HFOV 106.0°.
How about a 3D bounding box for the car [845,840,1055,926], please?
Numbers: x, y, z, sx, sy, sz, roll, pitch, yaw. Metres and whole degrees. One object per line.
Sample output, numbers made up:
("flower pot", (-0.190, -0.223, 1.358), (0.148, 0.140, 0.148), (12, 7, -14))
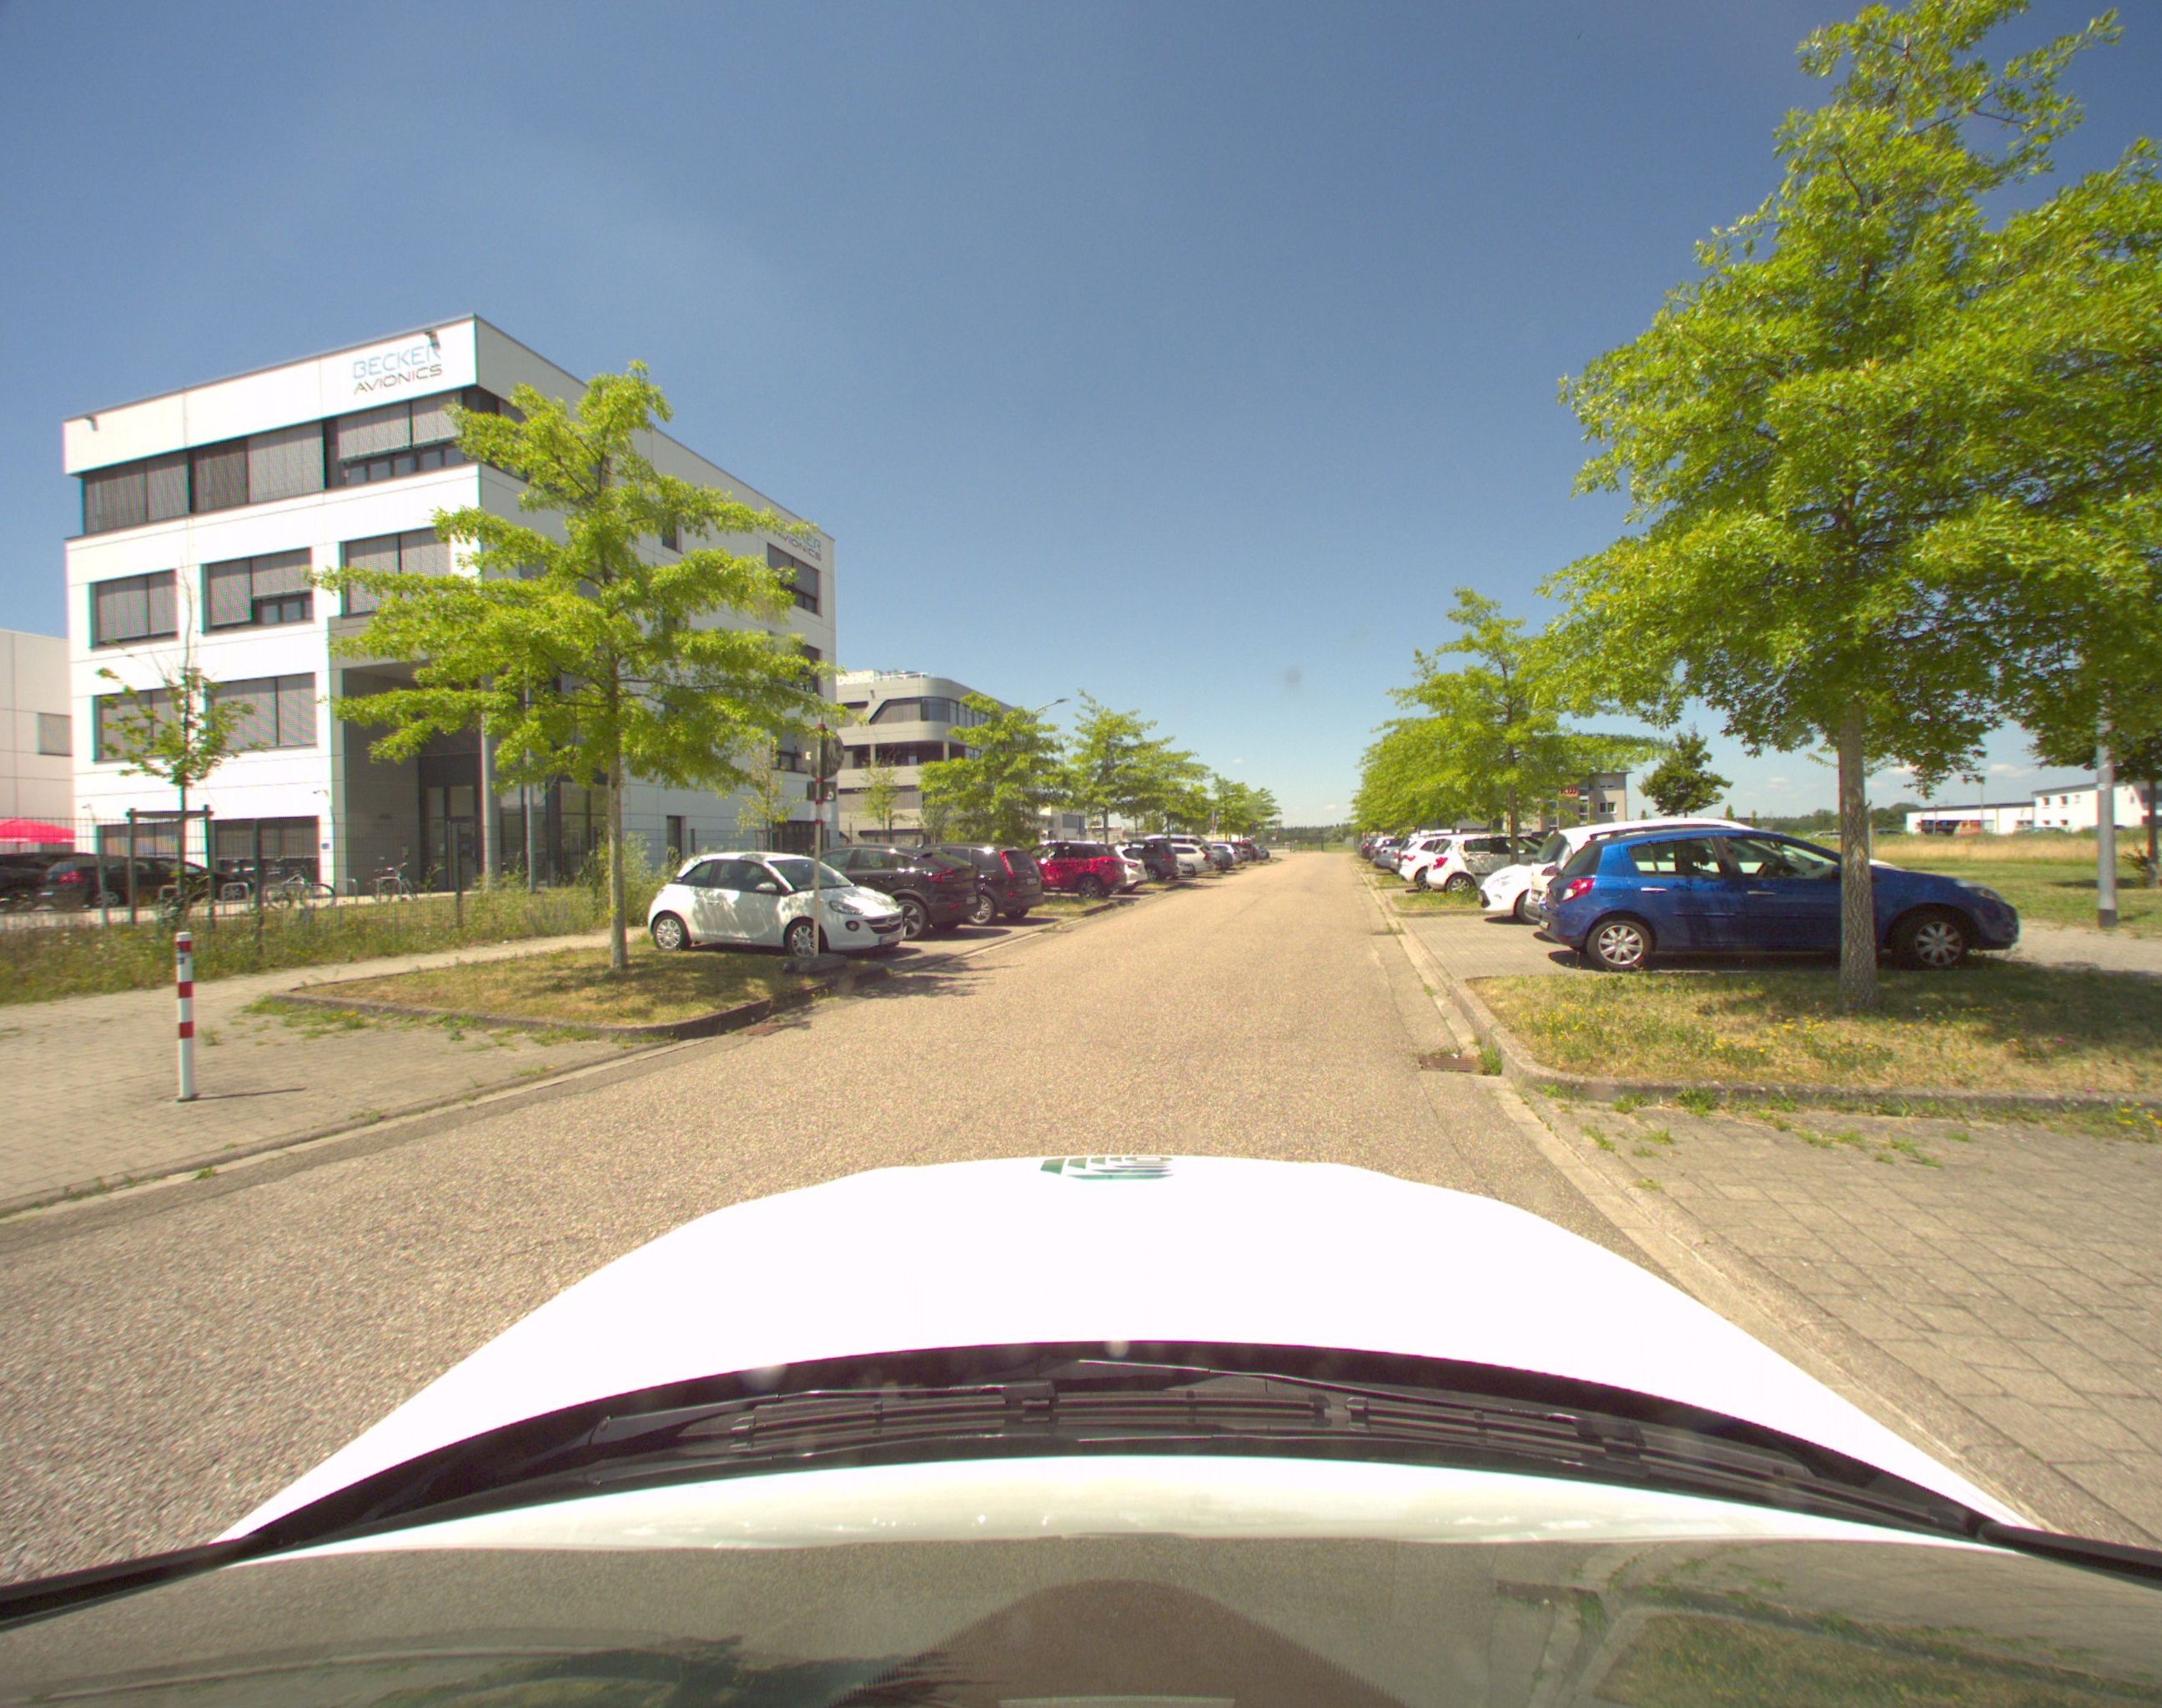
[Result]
("car", (-2.660, 0.519, 16.748), (3.876, 1.591, 1.735), (1, 1, 16))

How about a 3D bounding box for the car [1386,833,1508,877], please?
("car", (13.771, 0.044, 30.893), (4.014, 1.453, 1.653), (-3, 0, 18))

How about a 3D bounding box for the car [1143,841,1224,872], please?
("car", (5.372, 0.092, 42.526), (3.937, 1.484, 1.772), (1, 1, 17))

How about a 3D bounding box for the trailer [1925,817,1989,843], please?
("trailer", (91.936, -2.494, 85.562), (3.957, 2.600, 2.242), (-1, 0, 16))

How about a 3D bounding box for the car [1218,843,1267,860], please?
("car", (14.167, -0.228, 71.357), (4.047, 1.424, 1.881), (1, 1, 13))

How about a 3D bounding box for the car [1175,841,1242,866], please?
("car", (8.041, -0.038, 51.270), (4.008, 1.460, 1.611), (1, 1, 14))

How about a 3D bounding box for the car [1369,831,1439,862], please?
("car", (19.951, -0.442, 50.503), (3.844, 1.678, 1.790), (-3, 0, 17))

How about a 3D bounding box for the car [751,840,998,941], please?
("car", (-3.605, 0.574, 14.475), (3.811, 1.593, 1.836), (1, 1, 14))

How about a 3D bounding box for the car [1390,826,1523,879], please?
("car", (13.128, -0.035, 28.742), (4.014, 1.625, 1.701), (-3, 0, 18))

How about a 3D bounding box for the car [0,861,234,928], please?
("car", (-26.924, 1.067, 22.820), (1.762, 1.602, 4.017), (-1, 1, 16))

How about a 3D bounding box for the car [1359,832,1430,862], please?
("car", (20.426, -0.436, 53.202), (4.141, 1.696, 1.790), (-3, 0, 16))

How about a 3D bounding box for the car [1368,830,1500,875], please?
("car", (14.373, -0.052, 33.418), (4.683, 1.561, 1.921), (-3, 0, 13))

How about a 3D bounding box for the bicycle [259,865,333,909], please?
("bicycle", (-18.228, 0.760, 18.918), (1.580, 0.982, 0.464), (-1, 0, 15))

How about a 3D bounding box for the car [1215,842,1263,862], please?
("car", (12.526, -0.167, 64.650), (3.631, 1.508, 1.738), (1, 1, 13))

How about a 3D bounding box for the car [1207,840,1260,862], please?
("car", (11.655, -0.264, 62.168), (3.708, 1.621, 1.825), (1, 1, 18))

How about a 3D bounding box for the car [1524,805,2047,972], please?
("car", (7.297, 0.394, 9.002), (3.961, 1.490, 1.737), (-4, 0, 21))

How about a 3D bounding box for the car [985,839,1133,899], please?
("car", (-0.590, 0.374, 23.041), (3.810, 1.591, 1.735), (1, 1, 15))

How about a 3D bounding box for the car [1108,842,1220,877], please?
("car", (3.709, 0.226, 36.131), (4.679, 1.447, 1.865), (1, 1, 14))

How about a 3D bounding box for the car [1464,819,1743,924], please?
("car", (8.684, 0.284, 13.848), (3.593, 1.463, 1.617), (-4, 0, 12))

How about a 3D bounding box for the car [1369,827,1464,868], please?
("car", (17.276, -0.316, 42.196), (4.367, 1.830, 1.804), (-3, 0, 18))

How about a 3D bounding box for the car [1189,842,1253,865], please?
("car", (9.662, -0.032, 56.194), (4.160, 1.480, 1.720), (1, 1, 17))

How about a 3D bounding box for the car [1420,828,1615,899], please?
("car", (10.304, 0.221, 19.537), (3.804, 1.524, 1.787), (-2, 0, 17))

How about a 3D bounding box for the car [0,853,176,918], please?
("car", (-29.321, 0.860, 23.401), (1.762, 1.684, 4.017), (-1, 1, 16))

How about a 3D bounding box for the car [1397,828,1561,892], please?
("car", (10.622, 0.165, 21.999), (3.800, 1.553, 1.789), (-2, 1, 23))

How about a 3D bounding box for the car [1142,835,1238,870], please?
("car", (6.103, -0.091, 45.584), (5.029, 1.891, 2.007), (0, 1, 18))

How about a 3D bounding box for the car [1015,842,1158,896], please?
("car", (0.188, 0.425, 25.635), (4.138, 1.513, 1.816), (1, 2, 18))

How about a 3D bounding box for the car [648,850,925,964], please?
("car", (-4.296, 0.697, 12.043), (3.477, 1.441, 1.735), (1, 1, 16))

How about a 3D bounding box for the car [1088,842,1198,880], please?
("car", (2.605, 0.275, 33.801), (4.279, 1.473, 1.735), (1, 1, 15))

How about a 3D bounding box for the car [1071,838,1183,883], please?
("car", (1.809, 0.213, 31.896), (4.086, 1.634, 1.735), (1, 1, 16))

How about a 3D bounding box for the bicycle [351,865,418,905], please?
("bicycle", (-17.784, 0.790, 20.800), (1.580, 0.982, 0.464), (-1, 0, 15))

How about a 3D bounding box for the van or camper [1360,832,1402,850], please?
("van or camper", (38.558, -1.686, 104.673), (4.898, 2.164, 2.009), (-1, -1, 16))

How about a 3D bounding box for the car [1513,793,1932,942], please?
("car", (8.334, 0.211, 11.097), (4.074, 1.650, 1.784), (-4, 0, 22))

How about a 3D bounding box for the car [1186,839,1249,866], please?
("car", (9.013, -0.111, 53.747), (3.960, 1.678, 1.783), (1, 1, 12))
